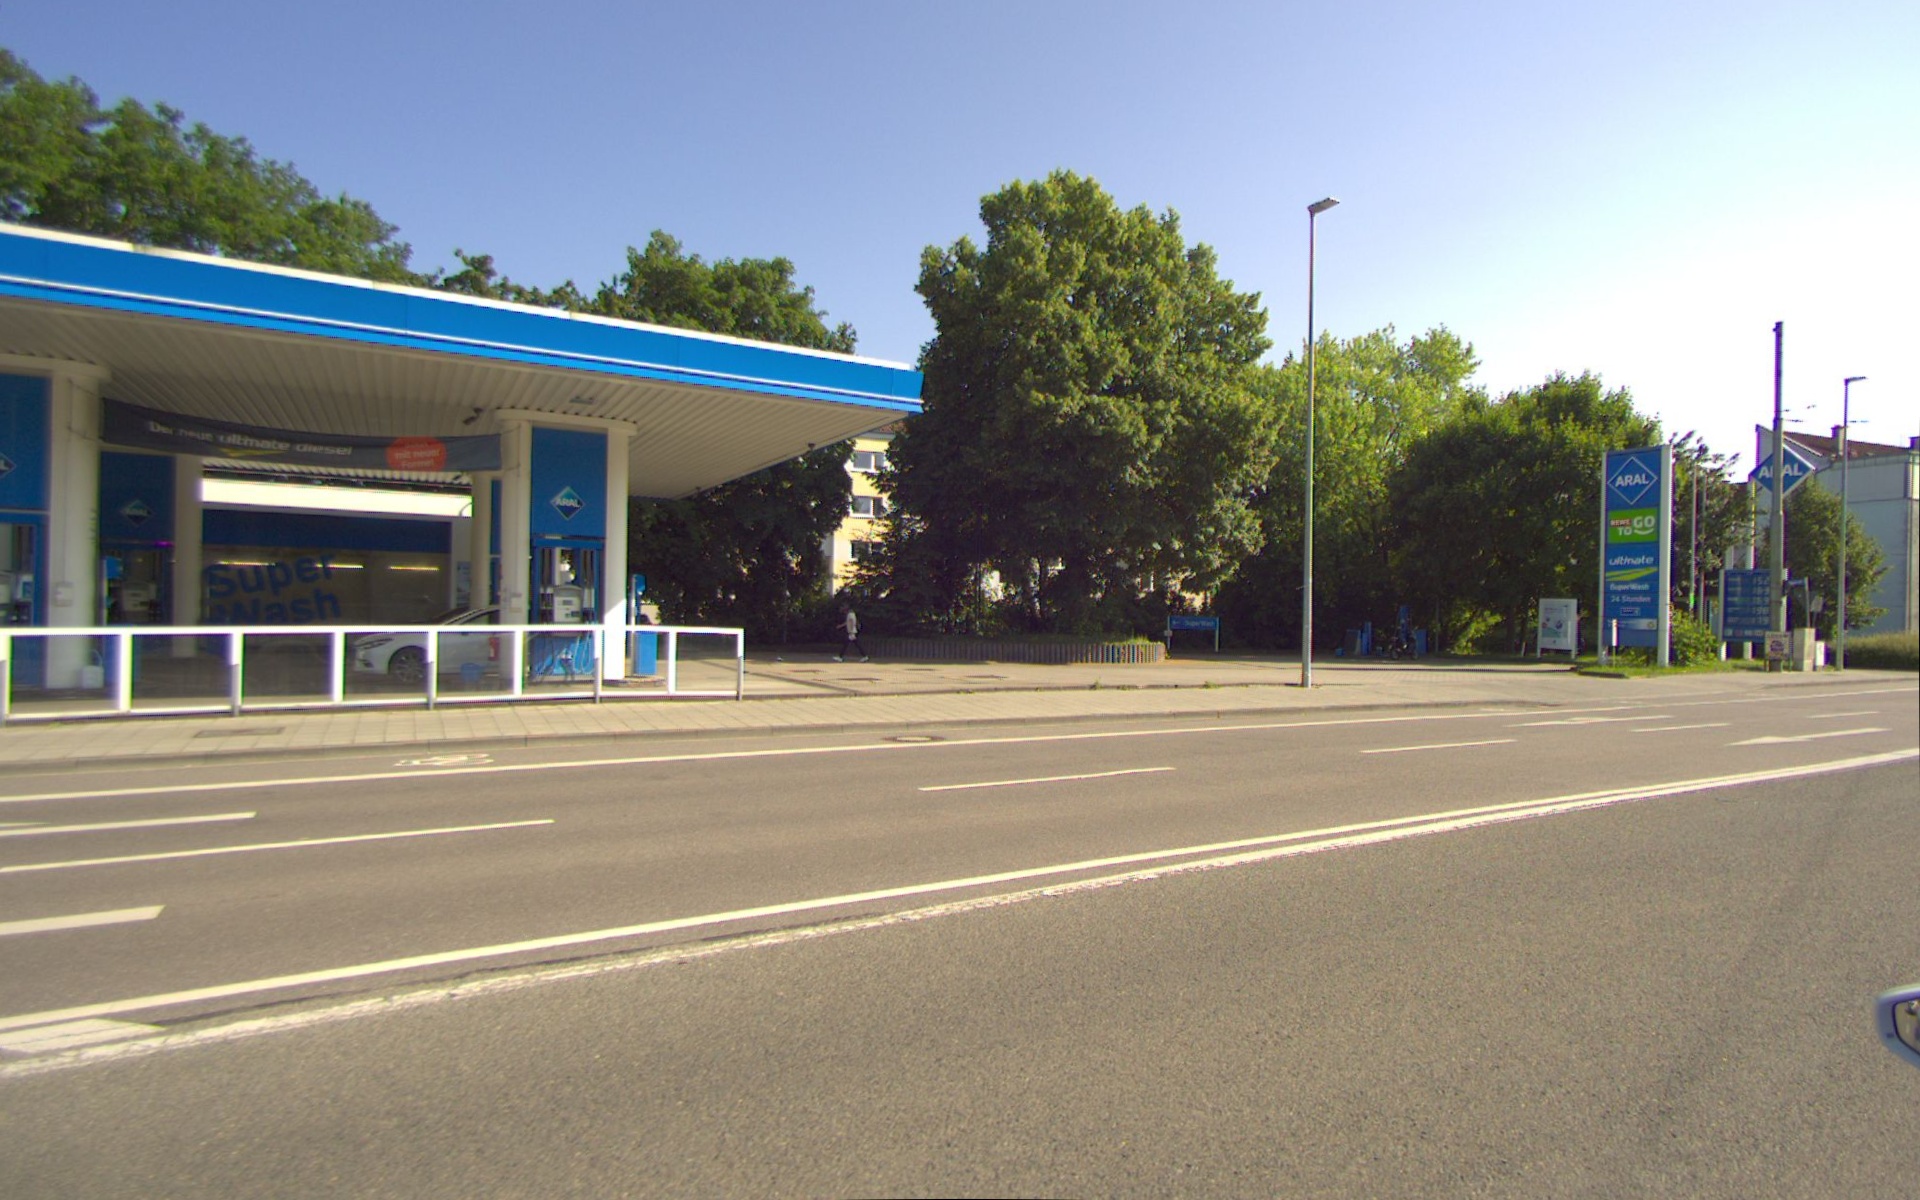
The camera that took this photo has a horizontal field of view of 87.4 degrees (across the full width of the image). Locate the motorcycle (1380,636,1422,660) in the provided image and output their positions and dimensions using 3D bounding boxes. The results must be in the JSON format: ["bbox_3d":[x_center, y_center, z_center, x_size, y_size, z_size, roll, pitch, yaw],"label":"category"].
[{"bbox_3d":[17.182,1.861,39.128,1.651,0.913,0.668,1,-1,-30],"label":"motorcycle"}]

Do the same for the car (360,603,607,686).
[{"bbox_3d":[-8.999,0.809,19.047,4.075,1.412,1.734,1,-1,-32],"label":"car"}]

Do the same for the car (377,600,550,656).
[{"bbox_3d":[-13.441,0.752,27.251,4.075,1.412,1.734,1,-1,-32],"label":"car"}]

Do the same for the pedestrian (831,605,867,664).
[{"bbox_3d":[-3.325,1.021,30.189,0.844,1.751,0.655,1,-1,-43],"label":"pedestrian"}]
